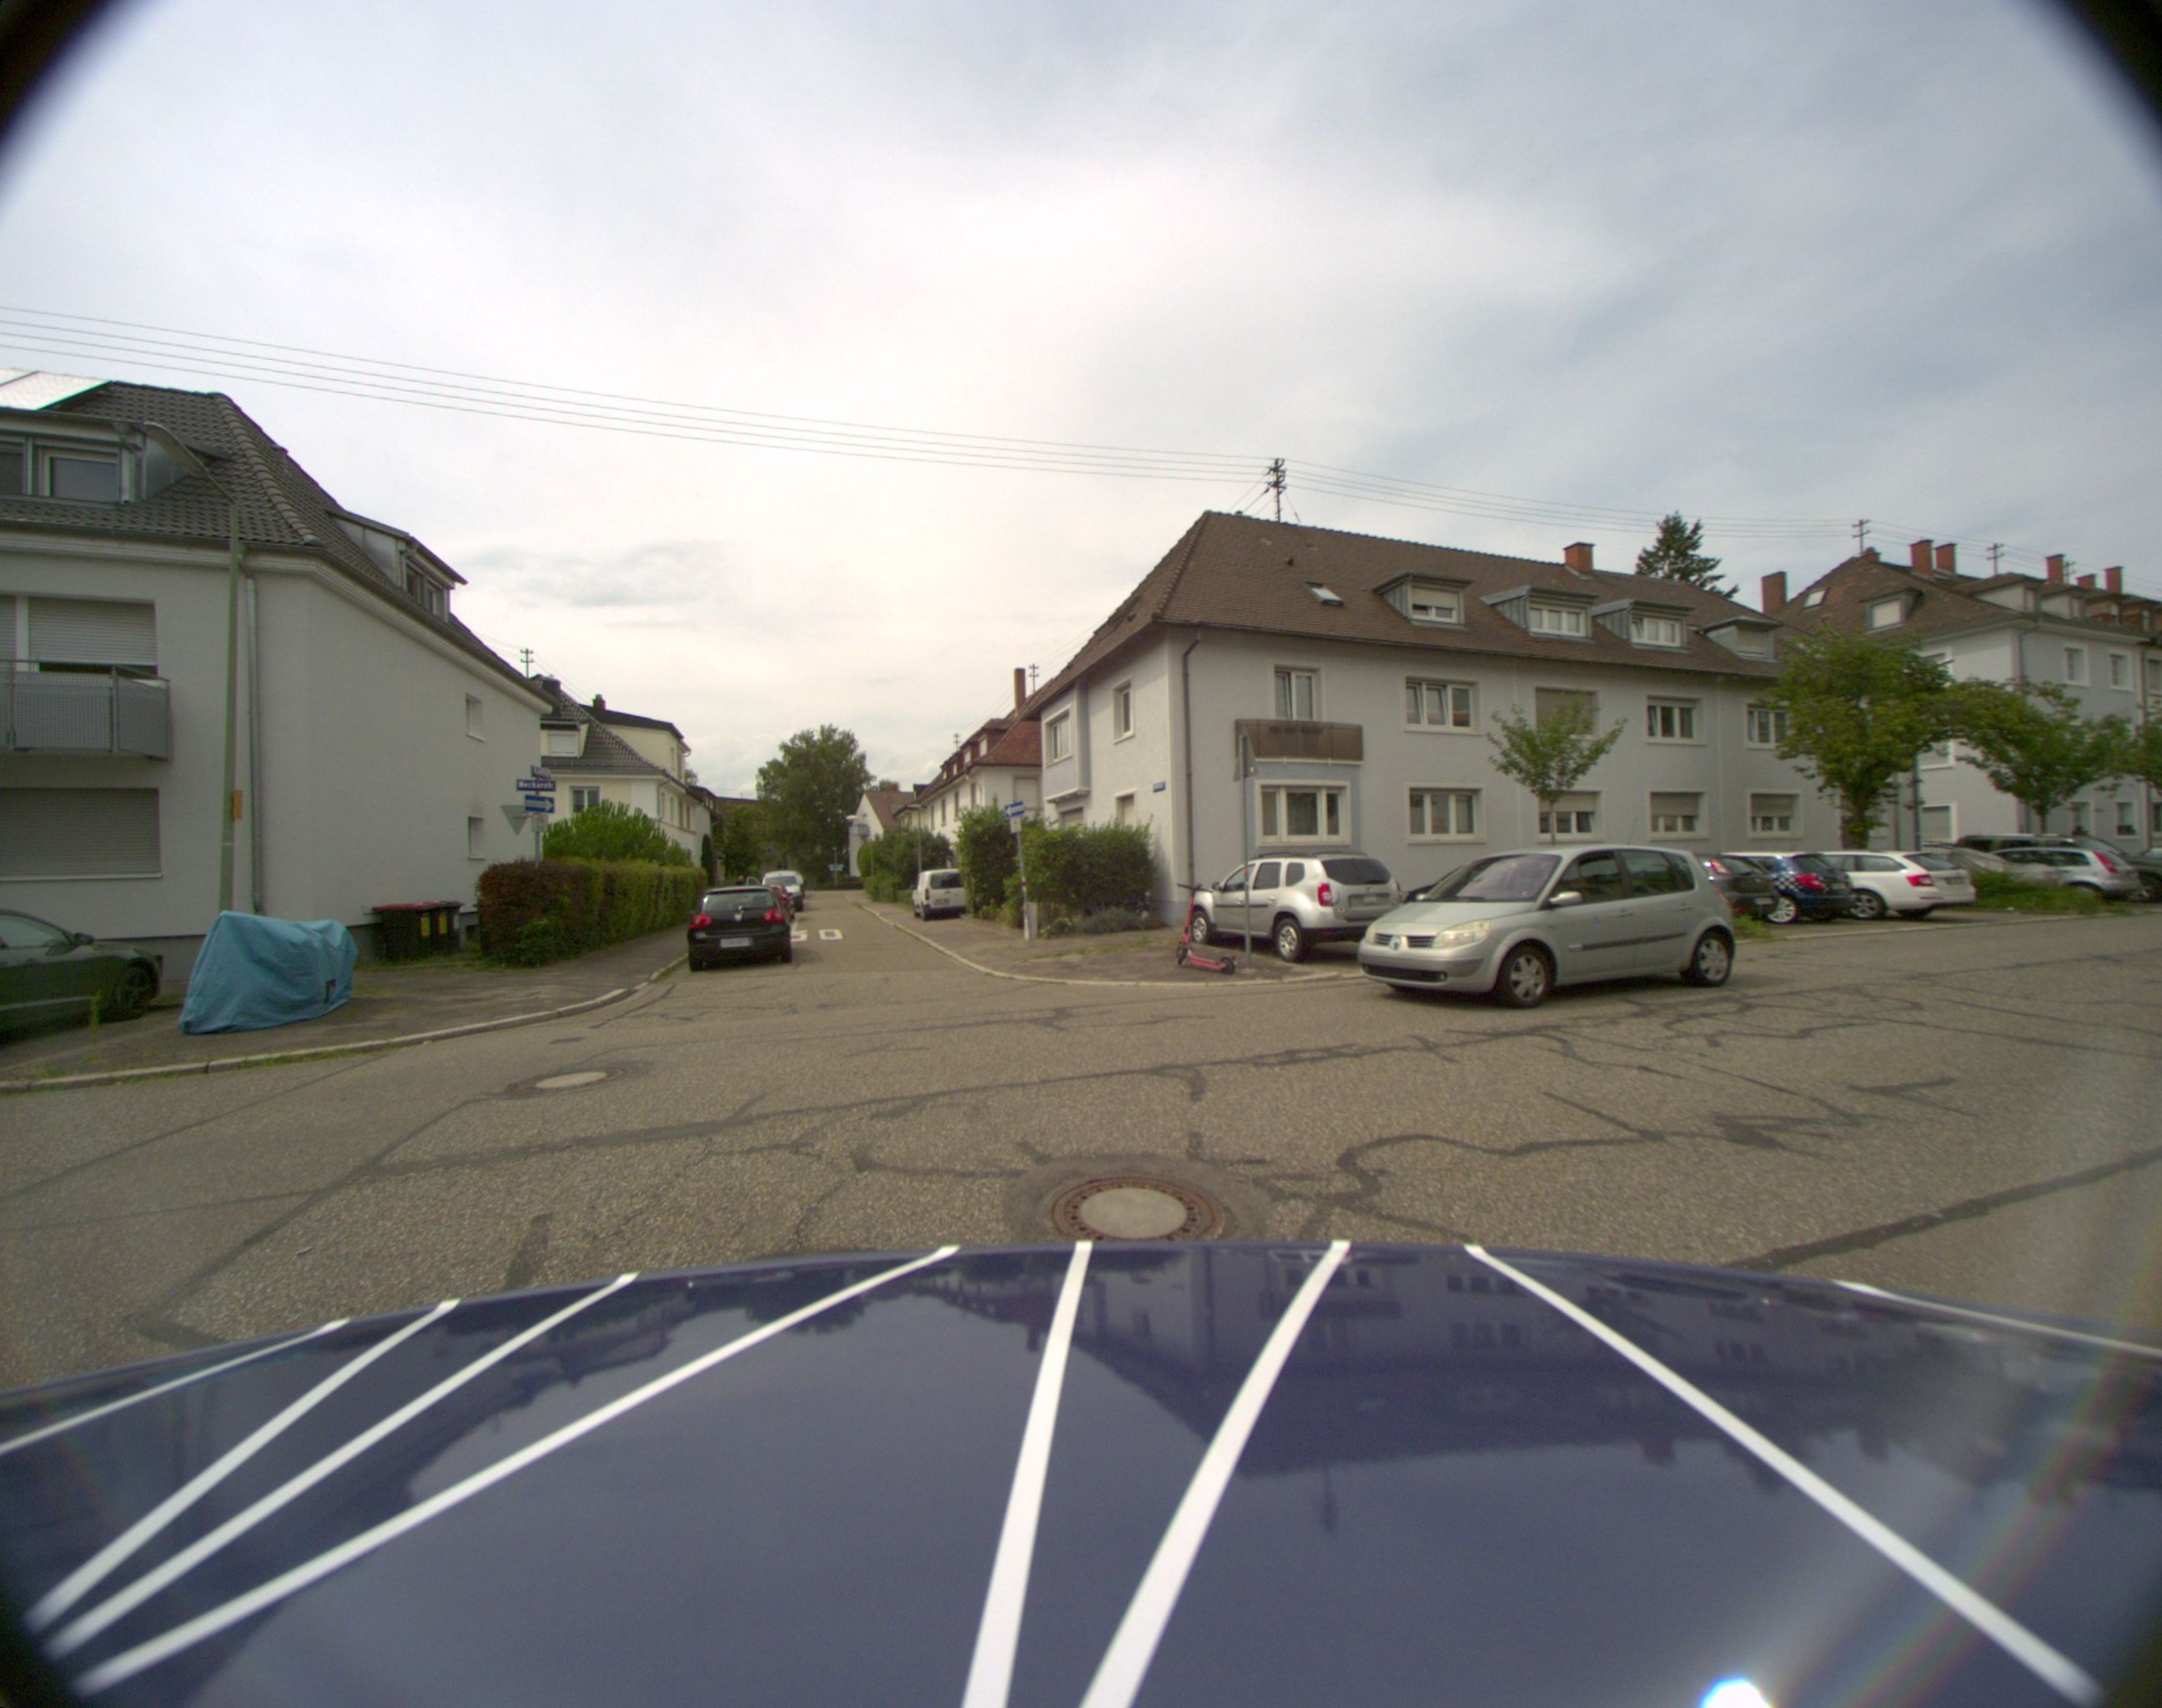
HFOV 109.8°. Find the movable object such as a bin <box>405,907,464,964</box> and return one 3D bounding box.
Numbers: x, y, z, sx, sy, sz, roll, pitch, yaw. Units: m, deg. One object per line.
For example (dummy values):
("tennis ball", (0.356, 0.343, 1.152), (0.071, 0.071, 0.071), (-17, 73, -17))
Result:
("movable object such as a bin", (-12.361, 1.553, 14.549), (0.700, 1.002, 0.520), (-2, 0, -22))

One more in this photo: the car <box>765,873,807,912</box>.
("car", (-14.880, 1.875, 38.346), (1.808, 1.784, 3.808), (-2, 0, -21))

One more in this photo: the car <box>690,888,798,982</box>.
("car", (-6.552, 1.446, 14.814), (1.665, 1.435, 3.807), (-2, -1, -24))

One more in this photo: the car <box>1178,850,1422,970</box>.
("car", (3.339, 0.812, 12.439), (1.870, 1.623, 3.930), (2, -1, -20))

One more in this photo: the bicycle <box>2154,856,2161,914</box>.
("bicycle", (23.563, 0.615, 15.934), (1.938, 1.220, 0.693), (-2, -1, -20))

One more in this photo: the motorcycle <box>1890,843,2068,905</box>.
("motorcycle", (22.650, 0.494, 19.261), (1.032, 1.455, 2.704), (-2, 0, -23))

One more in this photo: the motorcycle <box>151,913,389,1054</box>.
("motorcycle", (-8.918, 1.343, 8.534), (0.941, 1.203, 2.197), (-2, -1, -21))

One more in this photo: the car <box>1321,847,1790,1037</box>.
("car", (5.262, 0.793, 8.435), (4.840, 1.595, 1.787), (-1, 0, -20))

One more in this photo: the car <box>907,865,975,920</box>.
("car", (-5.289, 1.377, 28.337), (1.707, 1.795, 3.808), (-3, 0, -21))

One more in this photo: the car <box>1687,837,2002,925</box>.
("car", (16.764, 0.489, 17.080), (1.894, 1.654, 4.621), (-2, 1, -18))

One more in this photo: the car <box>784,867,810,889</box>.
("car", (-25.058, 2.069, 66.973), (1.913, 1.723, 3.761), (-2, 1, -22))

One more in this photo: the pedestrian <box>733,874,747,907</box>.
("pedestrian", (-18.212, 1.942, 40.614), (0.561, 1.708, 0.613), (-2, 0, -31))

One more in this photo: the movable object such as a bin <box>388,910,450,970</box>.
("movable object such as a bin", (-12.185, 1.570, 13.997), (0.700, 1.002, 0.520), (-2, 0, -22))

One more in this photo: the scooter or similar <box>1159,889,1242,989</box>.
("scooter or similar", (1.643, 1.143, 10.599), (0.423, 1.236, 1.239), (-2, 2, -32))

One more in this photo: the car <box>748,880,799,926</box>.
("car", (-11.677, 1.807, 28.962), (1.665, 1.508, 3.808), (-2, -1, -21))

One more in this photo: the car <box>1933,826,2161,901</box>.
("car", (27.059, 0.185, 20.865), (1.794, 1.847, 4.532), (-2, 1, -17))

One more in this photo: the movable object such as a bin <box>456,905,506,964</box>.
("movable object such as a bin", (-10.929, 1.450, 13.848), (0.549, 1.002, 0.611), (-2, 0, -23))

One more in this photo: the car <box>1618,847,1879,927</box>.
("car", (14.445, 0.617, 16.754), (1.714, 1.499, 3.993), (-2, 1, -19))

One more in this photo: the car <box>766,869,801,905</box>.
("car", (-16.557, 1.785, 42.293), (1.665, 1.892, 3.808), (-2, 0, -21))

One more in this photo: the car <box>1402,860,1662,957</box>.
("car", (8.124, 0.871, 14.147), (1.714, 1.414, 3.993), (-2, 1, -19))

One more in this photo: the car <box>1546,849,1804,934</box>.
("car", (12.280, 0.672, 16.059), (1.714, 1.499, 3.993), (-2, 1, -19))

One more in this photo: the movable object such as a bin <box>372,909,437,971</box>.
("movable object such as a bin", (-11.988, 1.510, 13.486), (0.700, 1.002, 0.520), (-2, 0, -22))

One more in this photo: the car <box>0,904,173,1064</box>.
("car", (-11.224, 1.327, 7.219), (1.775, 1.358, 3.752), (-2, 1, -23))

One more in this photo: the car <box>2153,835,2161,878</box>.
("car", (39.618, 0.120, 25.437), (1.770, 1.521, 3.992), (0, 1, -22))

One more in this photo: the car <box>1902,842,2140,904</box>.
("car", (24.762, 0.424, 20.185), (1.775, 1.446, 3.629), (-2, 1, -23))
